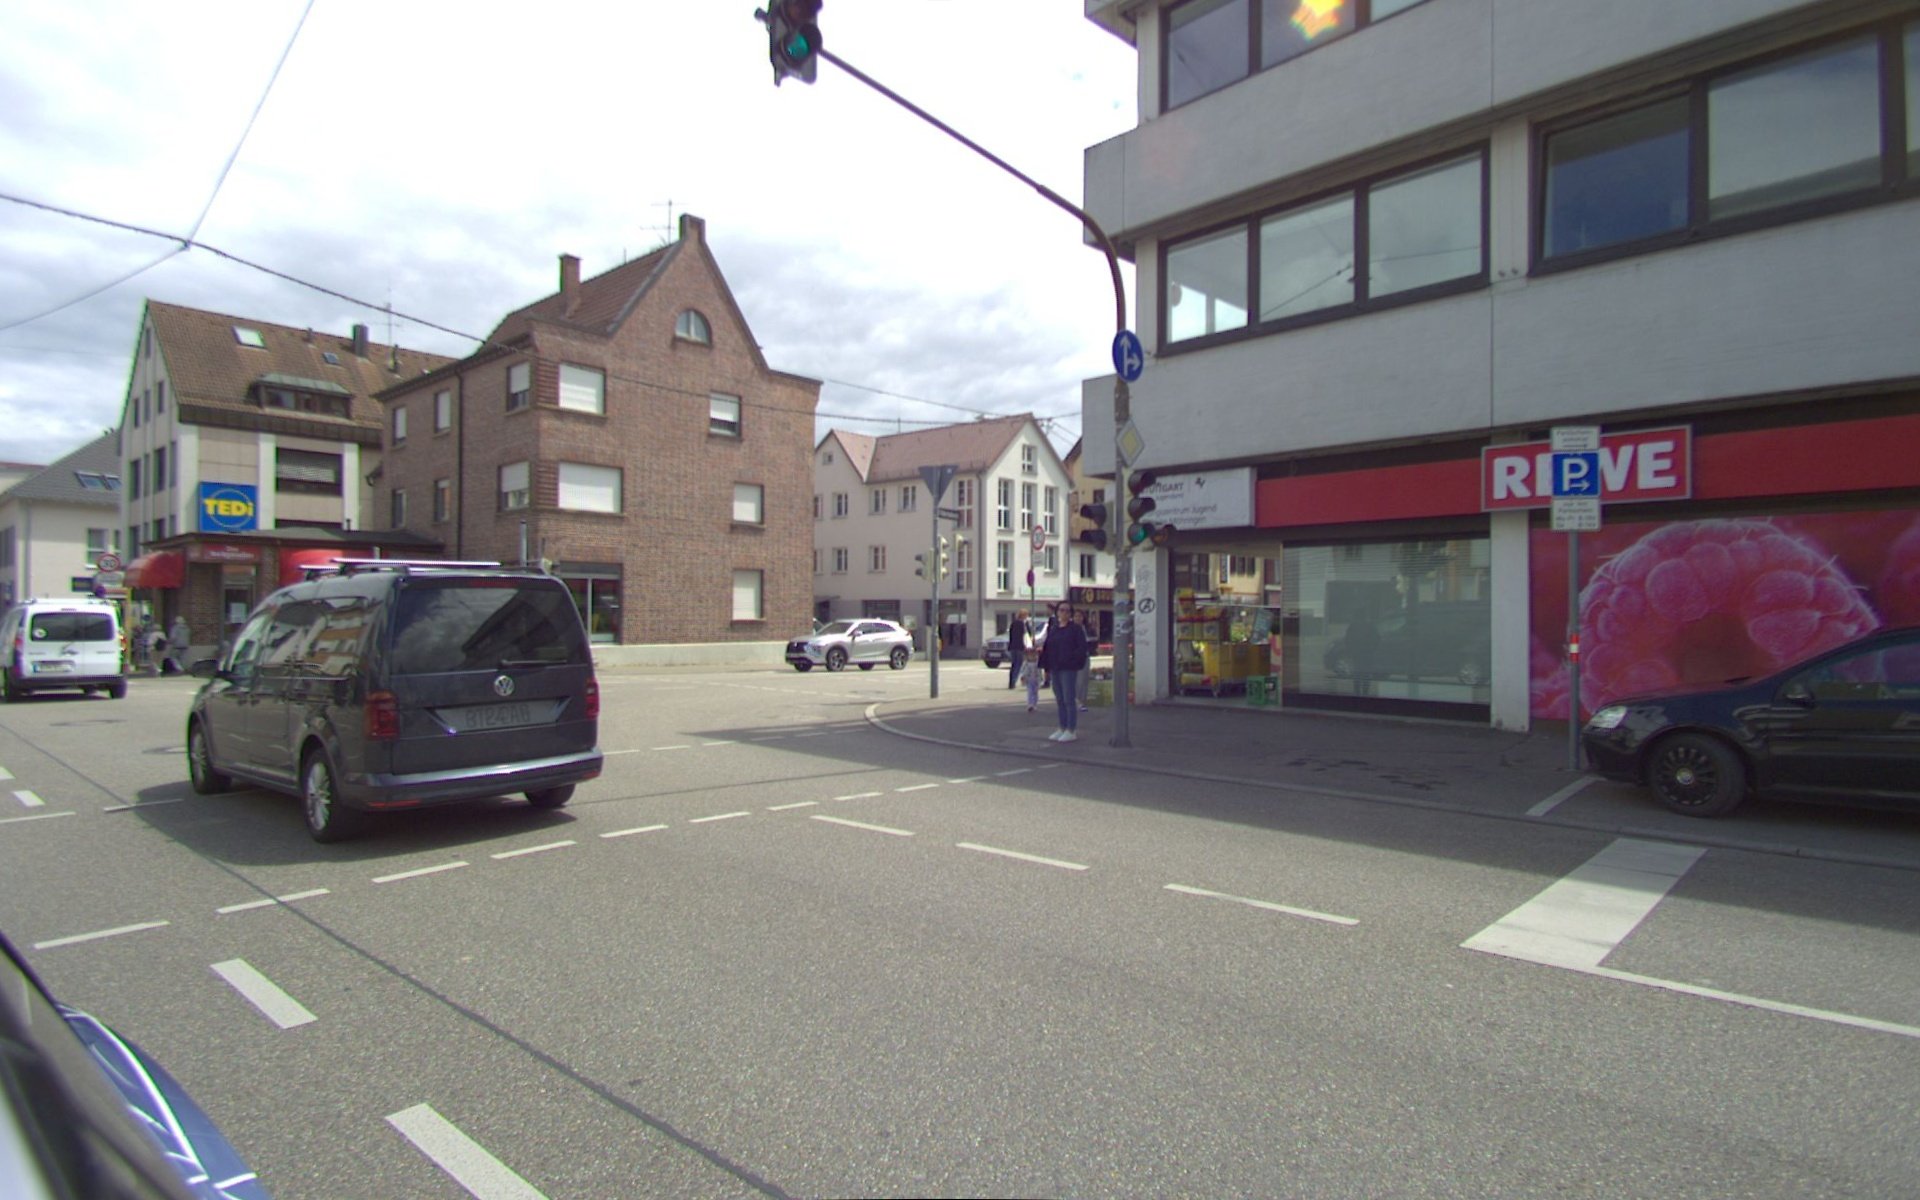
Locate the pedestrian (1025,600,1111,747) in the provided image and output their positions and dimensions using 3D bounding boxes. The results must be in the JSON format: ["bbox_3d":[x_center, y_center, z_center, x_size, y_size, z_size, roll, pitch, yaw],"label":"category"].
[{"bbox_3d":[1.267,0.834,11.922,0.709,1.657,0.682,0,-1,-44],"label":"pedestrian"}]

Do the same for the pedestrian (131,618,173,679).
[{"bbox_3d":[-22.804,1.363,28.560,0.795,1.708,0.769,-2,-3,41],"label":"pedestrian"}]

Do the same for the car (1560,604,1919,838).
[{"bbox_3d":[6.911,0.772,7.120,4.285,1.486,2.022,-2,-1,43],"label":"car"}]

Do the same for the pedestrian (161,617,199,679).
[{"bbox_3d":[-22.364,1.364,29.004,0.877,1.729,0.675,-2,-3,41],"label":"pedestrian"}]

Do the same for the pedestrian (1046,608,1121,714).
[{"bbox_3d":[1.902,0.922,15.657,0.807,1.566,0.848,-1,-1,-24],"label":"pedestrian"}]

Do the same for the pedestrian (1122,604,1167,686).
[{"bbox_3d":[4.066,0.968,22.243,0.815,1.753,0.840,-1,-1,20],"label":"pedestrian"}]

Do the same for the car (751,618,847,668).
[{"bbox_3d":[-6.419,1.684,40.184,3.700,1.877,1.845,-2,-3,41],"label":"car"}]

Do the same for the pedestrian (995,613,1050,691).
[{"bbox_3d":[1.361,1.119,22.166,0.832,1.663,0.823,-1,-1,-37],"label":"pedestrian"}]

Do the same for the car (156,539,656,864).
[{"bbox_3d":[-4.706,0.656,8.234,4.873,1.891,1.929,-1,-2,40],"label":"car"}]

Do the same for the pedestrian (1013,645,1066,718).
[{"bbox_3d":[1.213,1.235,15.532,0.551,1.065,0.664,-1,-1,-23],"label":"pedestrian"}]

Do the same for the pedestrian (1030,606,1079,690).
[{"bbox_3d":[2.009,1.004,21.507,0.815,1.753,0.840,-1,-1,21],"label":"pedestrian"}]

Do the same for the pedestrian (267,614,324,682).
[{"bbox_3d":[-17.199,1.240,26.205,0.839,1.736,0.907,0,-2,-1],"label":"pedestrian"}]

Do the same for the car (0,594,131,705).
[{"bbox_3d":[-17.740,0.931,19.705,4.111,1.945,1.795,-2,-3,42],"label":"car"}]

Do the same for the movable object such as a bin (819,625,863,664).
[{"bbox_3d":[-5.199,1.917,44.302,1.145,1.637,1.498,-1,0,44],"label":"movable object such as a bin"}]

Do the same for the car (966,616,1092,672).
[{"bbox_3d":[2.364,1.451,33.800,1.999,1.768,4.291,-2,-3,41],"label":"car"}]

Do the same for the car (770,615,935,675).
[{"bbox_3d":[-3.339,1.421,32.278,2.000,1.782,5.184,-3,-3,44],"label":"car"}]
